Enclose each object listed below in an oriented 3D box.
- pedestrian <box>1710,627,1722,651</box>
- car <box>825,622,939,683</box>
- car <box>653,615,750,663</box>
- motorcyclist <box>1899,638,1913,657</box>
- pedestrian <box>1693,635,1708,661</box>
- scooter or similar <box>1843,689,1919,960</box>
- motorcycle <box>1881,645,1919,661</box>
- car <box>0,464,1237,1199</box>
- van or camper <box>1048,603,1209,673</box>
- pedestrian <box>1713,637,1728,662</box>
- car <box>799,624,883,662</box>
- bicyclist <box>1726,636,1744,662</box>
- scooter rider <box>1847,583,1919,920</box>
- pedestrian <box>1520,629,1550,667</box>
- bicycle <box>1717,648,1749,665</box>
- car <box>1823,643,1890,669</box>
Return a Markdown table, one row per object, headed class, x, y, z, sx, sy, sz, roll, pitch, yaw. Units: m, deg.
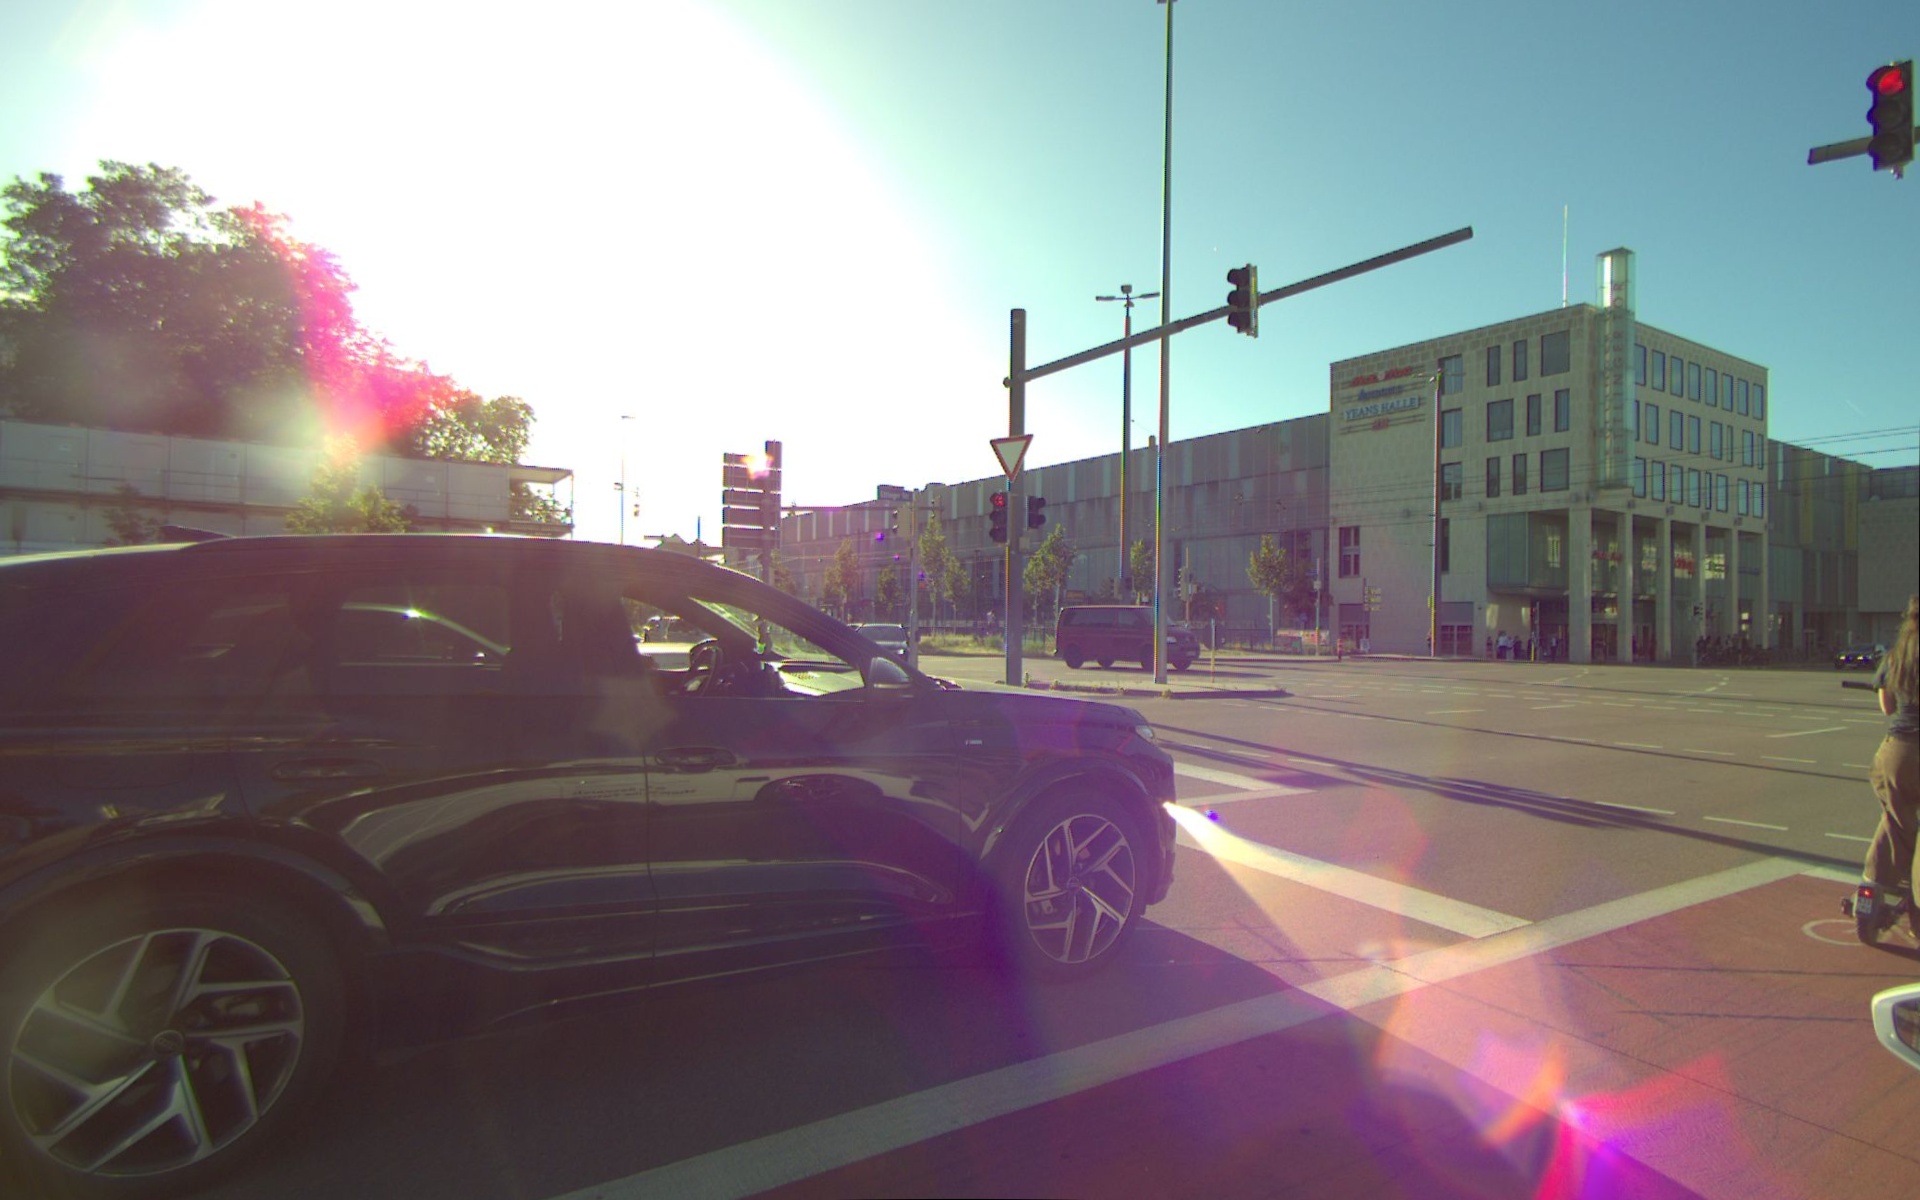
| class | x | y | z | sx | sy | sz | roll | pitch | yaw |
| --- | --- | --- | --- | --- | --- | --- | --- | --- | --- |
| pedestrian | 56.411 | 2.937 | 74.967 | 0.510 | 1.752 | 0.472 | 2 | 0 | 9 |
| car | -2.014 | 1.372 | 27.238 | 1.845 | 1.500 | 3.983 | 0 | -1 | 15 |
| car | -11.024 | 1.608 | 42.601 | 1.875 | 1.947 | 4.868 | 2 | -2 | -43 |
| motorcyclist | 70.966 | 3.546 | 75.341 | 0.657 | 1.424 | 0.623 | 2 | 0 | -38 |
| pedestrian | 47.842 | 3.099 | 64.864 | 0.622 | 1.667 | 0.589 | 1 | -1 | -30 |
| scooter or similar | 4.384 | 0.998 | 4.683 | 0.832 | 1.122 | 0.303 | 2 | -1 | -42 |
| motorcycle | 70.783 | 3.973 | 75.153 | 1.106 | 1.006 | 2.582 | 2 | 0 | -38 |
| car | -1.302 | 0.602 | 4.051 | 4.614 | 1.729 | 2.153 | 1 | -1 | -33 |
| van or camper | 5.207 | 1.157 | 31.544 | 1.992 | 2.040 | 4.783 | 2 | -2 | -42 |
| pedestrian | 54.779 | 3.567 | 72.314 | 0.681 | 1.752 | 0.472 | 2 | 0 | 9 |
| car | -5.154 | 1.804 | 43.291 | 1.660 | 1.530 | 3.824 | 2 | -2 | -44 |
| bicyclist | 44.154 | 2.787 | 57.242 | 0.581 | 1.467 | 0.623 | 1 | -1 | -28 |
| scooter rider | 4.611 | 0.700 | 4.752 | 0.445 | 1.550 | 0.548 | 1 | -1 | -38 |
| pedestrian | 26.160 | 2.191 | 45.699 | 0.994 | 1.697 | 0.818 | 1 | -1 | -33 |
| bicycle | 43.918 | 3.188 | 57.087 | 2.191 | 0.915 | 0.633 | 1 | -1 | -29 |
| car | 49.603 | 3.067 | 55.561 | 3.975 | 1.375 | 1.668 | 1 | -1 | -31 |
